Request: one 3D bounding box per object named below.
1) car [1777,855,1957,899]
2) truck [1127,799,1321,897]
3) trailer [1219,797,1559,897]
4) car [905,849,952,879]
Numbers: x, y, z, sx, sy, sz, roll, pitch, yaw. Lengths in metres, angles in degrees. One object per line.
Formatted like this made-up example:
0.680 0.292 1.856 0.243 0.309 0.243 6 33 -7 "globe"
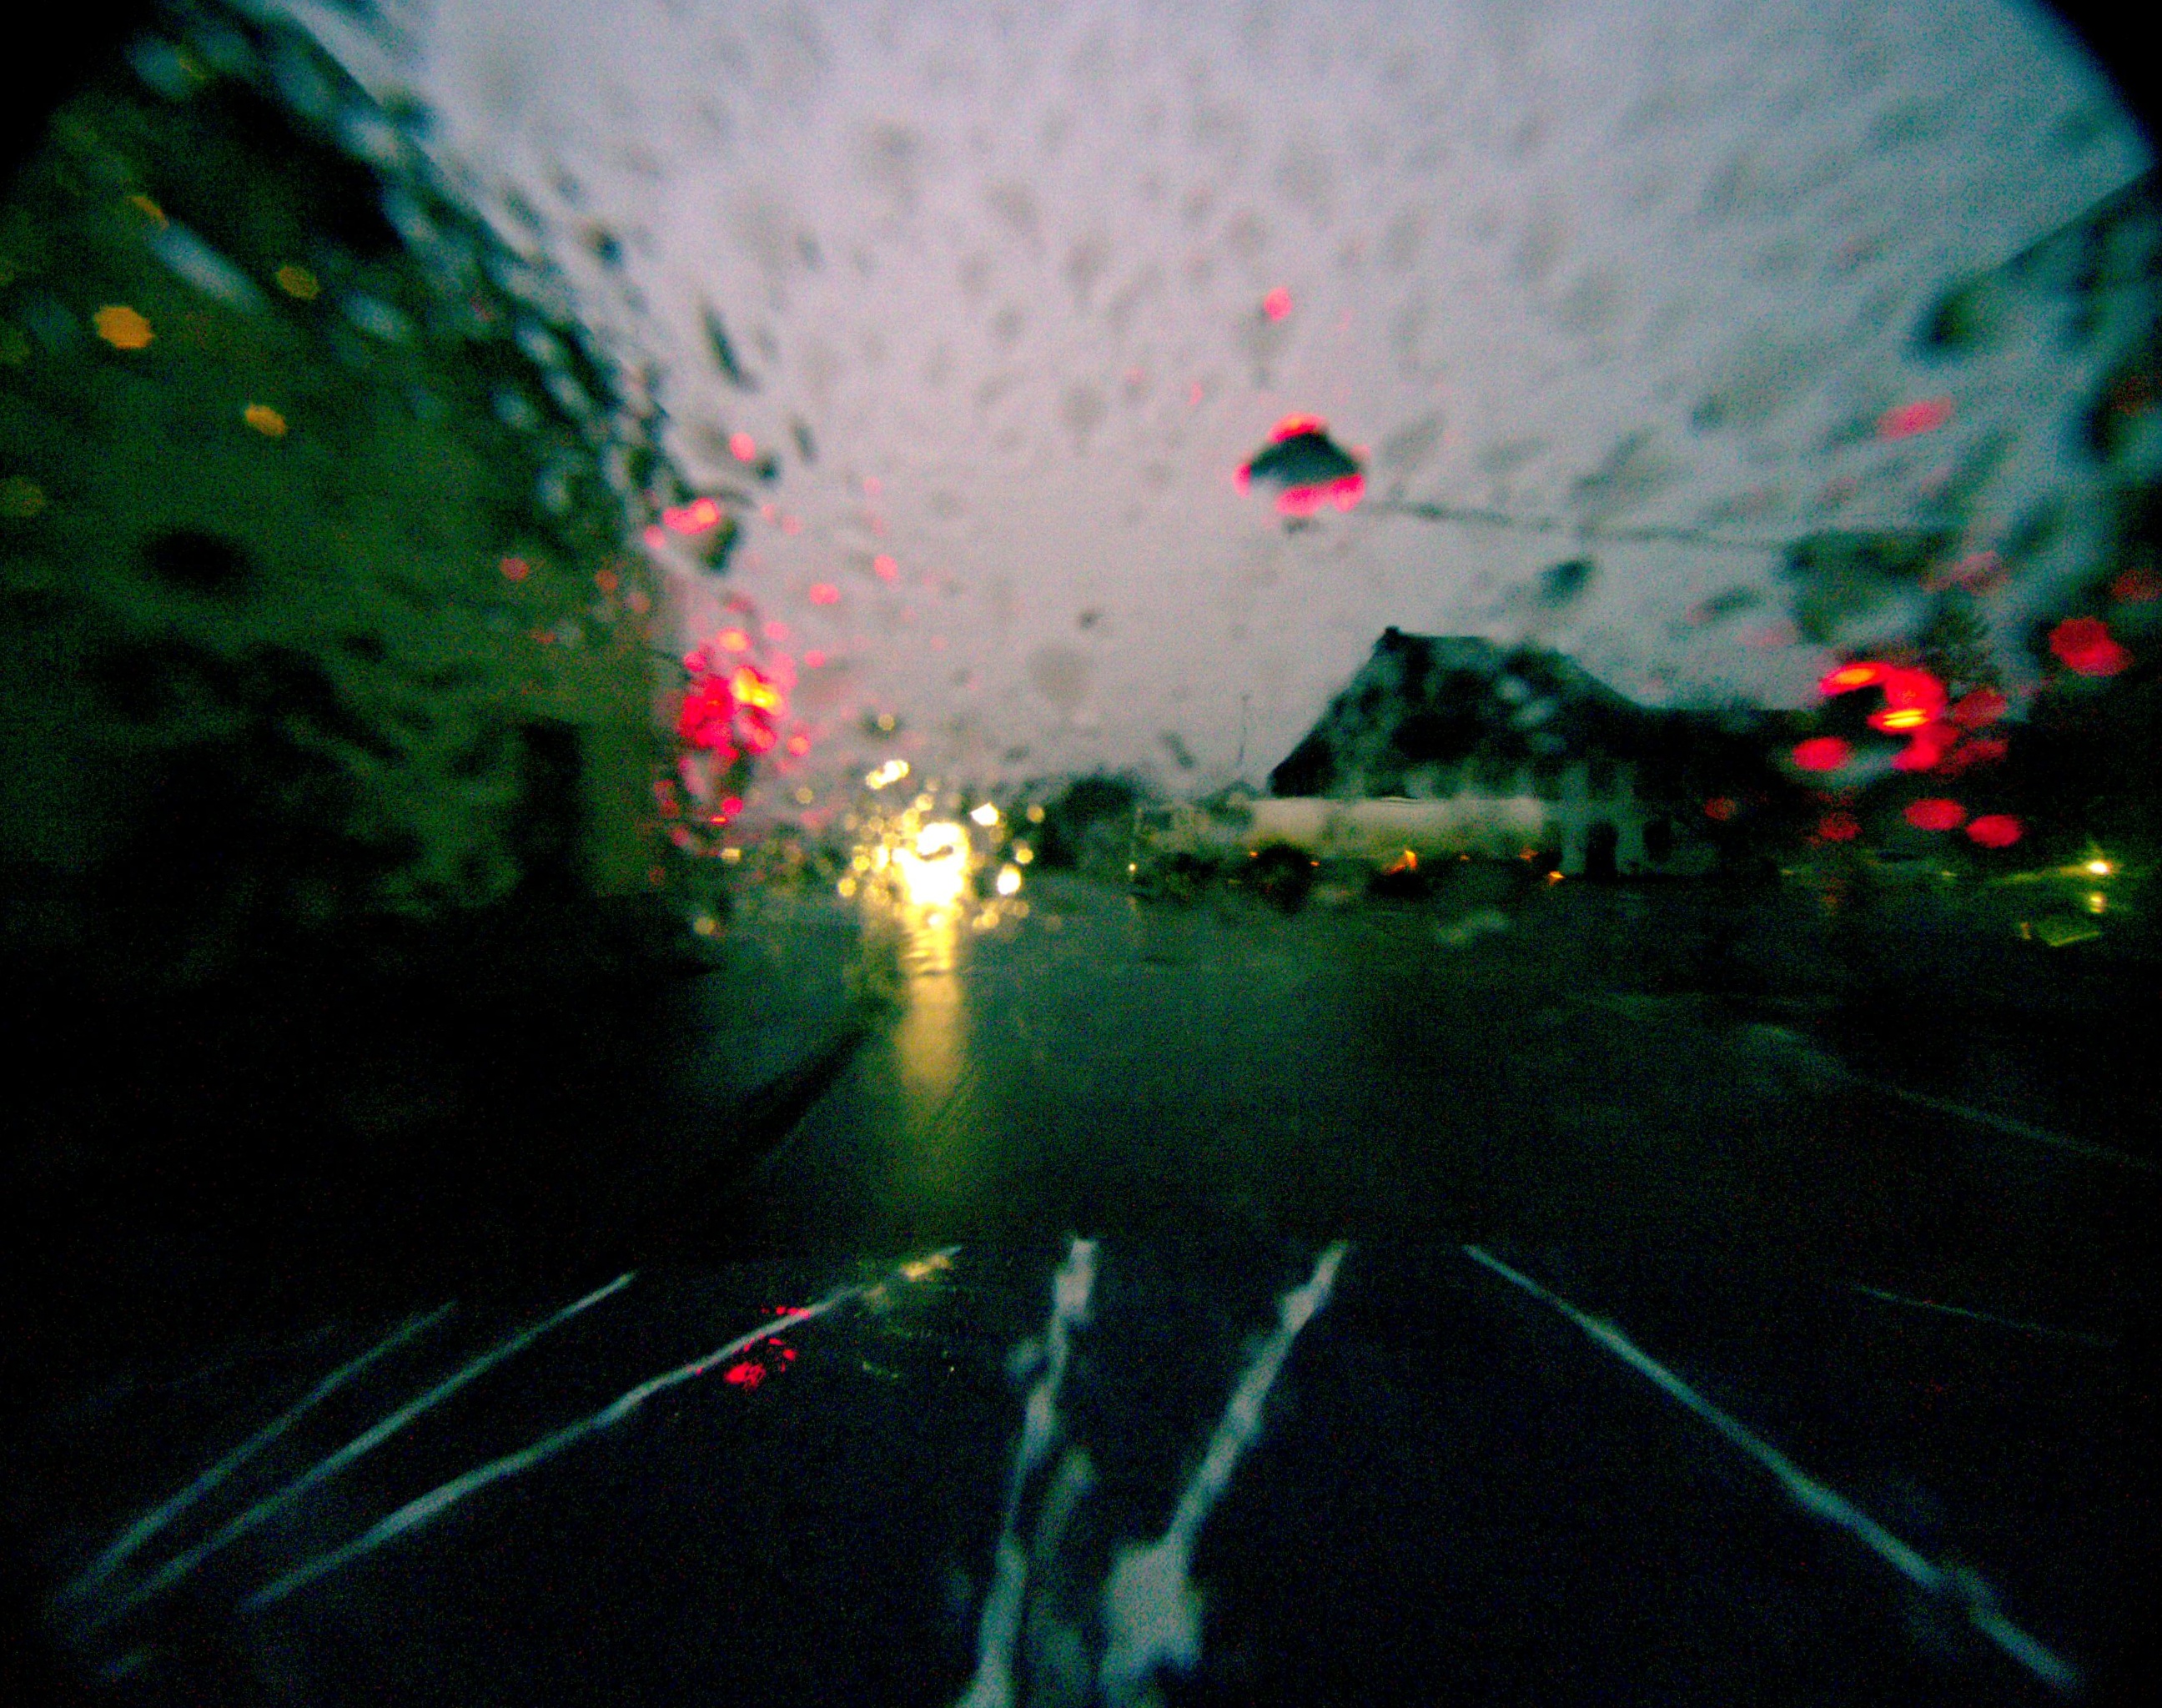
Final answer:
26.645 0.773 25.845 4.378 1.430 1.668 0 -1 0 "car"
4.813 -0.176 26.450 6.268 3.210 2.470 0 0 0 "truck"
10.469 -0.231 26.494 10.860 3.221 2.496 0 0 0 "trailer"
-9.093 0.571 45.013 1.821 1.679 3.908 0 0 -25 "car"
